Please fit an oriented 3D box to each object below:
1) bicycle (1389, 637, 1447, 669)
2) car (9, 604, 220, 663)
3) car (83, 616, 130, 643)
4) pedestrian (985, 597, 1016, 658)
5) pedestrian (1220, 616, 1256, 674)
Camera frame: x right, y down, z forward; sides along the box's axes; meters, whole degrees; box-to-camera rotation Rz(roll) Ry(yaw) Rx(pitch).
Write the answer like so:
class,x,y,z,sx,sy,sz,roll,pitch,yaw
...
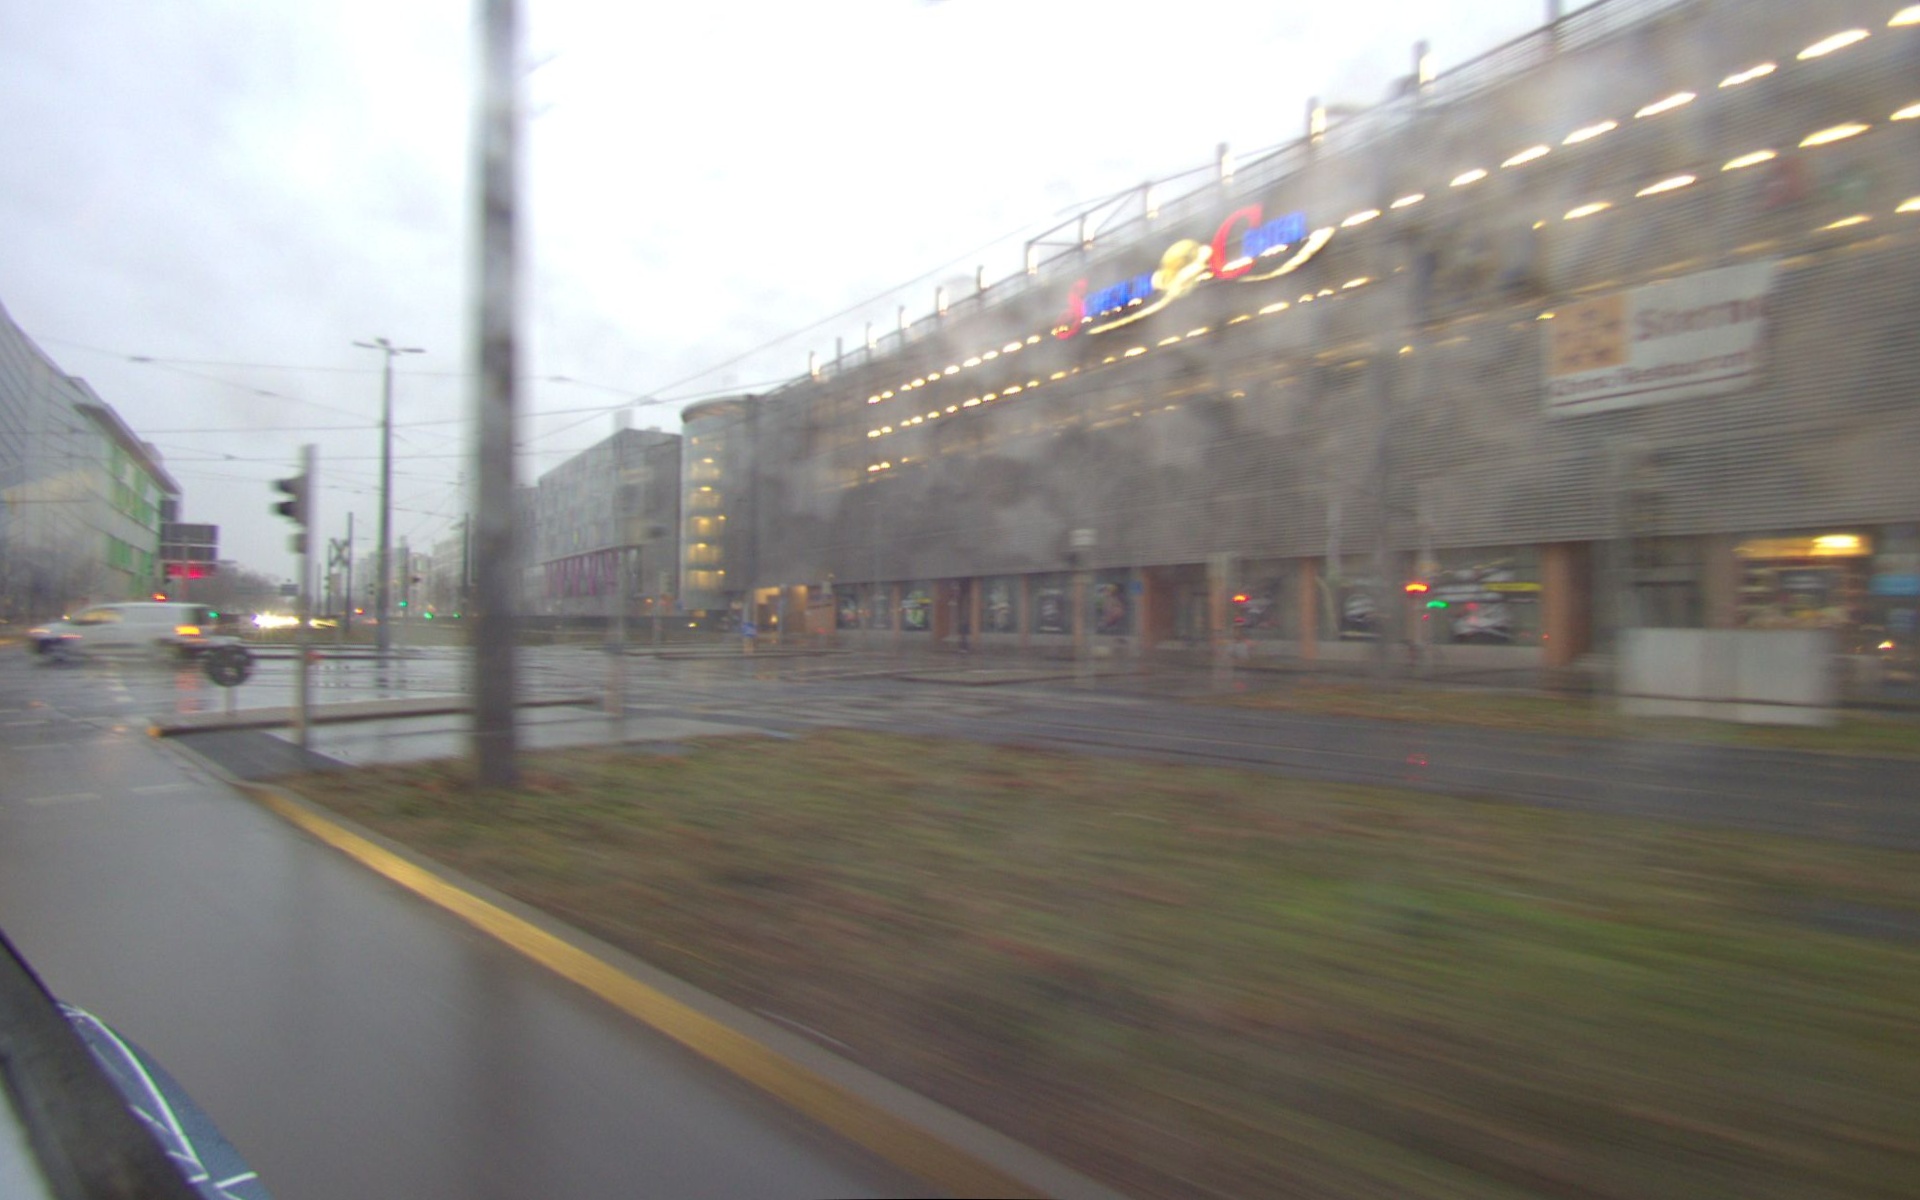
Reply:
class,x,y,z,sx,sy,sz,roll,pitch,yaw
bicycle,17.693,2.036,39.155,0.469,1.130,2.097,2,-1,-33
car,-25.713,1.017,30.986,4.531,1.732,1.935,1,-1,-17
car,-55.287,1.893,65.590,1.803,1.674,4.011,1,-2,-33
pedestrian,2.018,1.365,50.331,1.095,2.947,0.969,2,-1,-33
pedestrian,12.028,1.934,43.798,0.950,2.457,1.117,2,-1,-32
